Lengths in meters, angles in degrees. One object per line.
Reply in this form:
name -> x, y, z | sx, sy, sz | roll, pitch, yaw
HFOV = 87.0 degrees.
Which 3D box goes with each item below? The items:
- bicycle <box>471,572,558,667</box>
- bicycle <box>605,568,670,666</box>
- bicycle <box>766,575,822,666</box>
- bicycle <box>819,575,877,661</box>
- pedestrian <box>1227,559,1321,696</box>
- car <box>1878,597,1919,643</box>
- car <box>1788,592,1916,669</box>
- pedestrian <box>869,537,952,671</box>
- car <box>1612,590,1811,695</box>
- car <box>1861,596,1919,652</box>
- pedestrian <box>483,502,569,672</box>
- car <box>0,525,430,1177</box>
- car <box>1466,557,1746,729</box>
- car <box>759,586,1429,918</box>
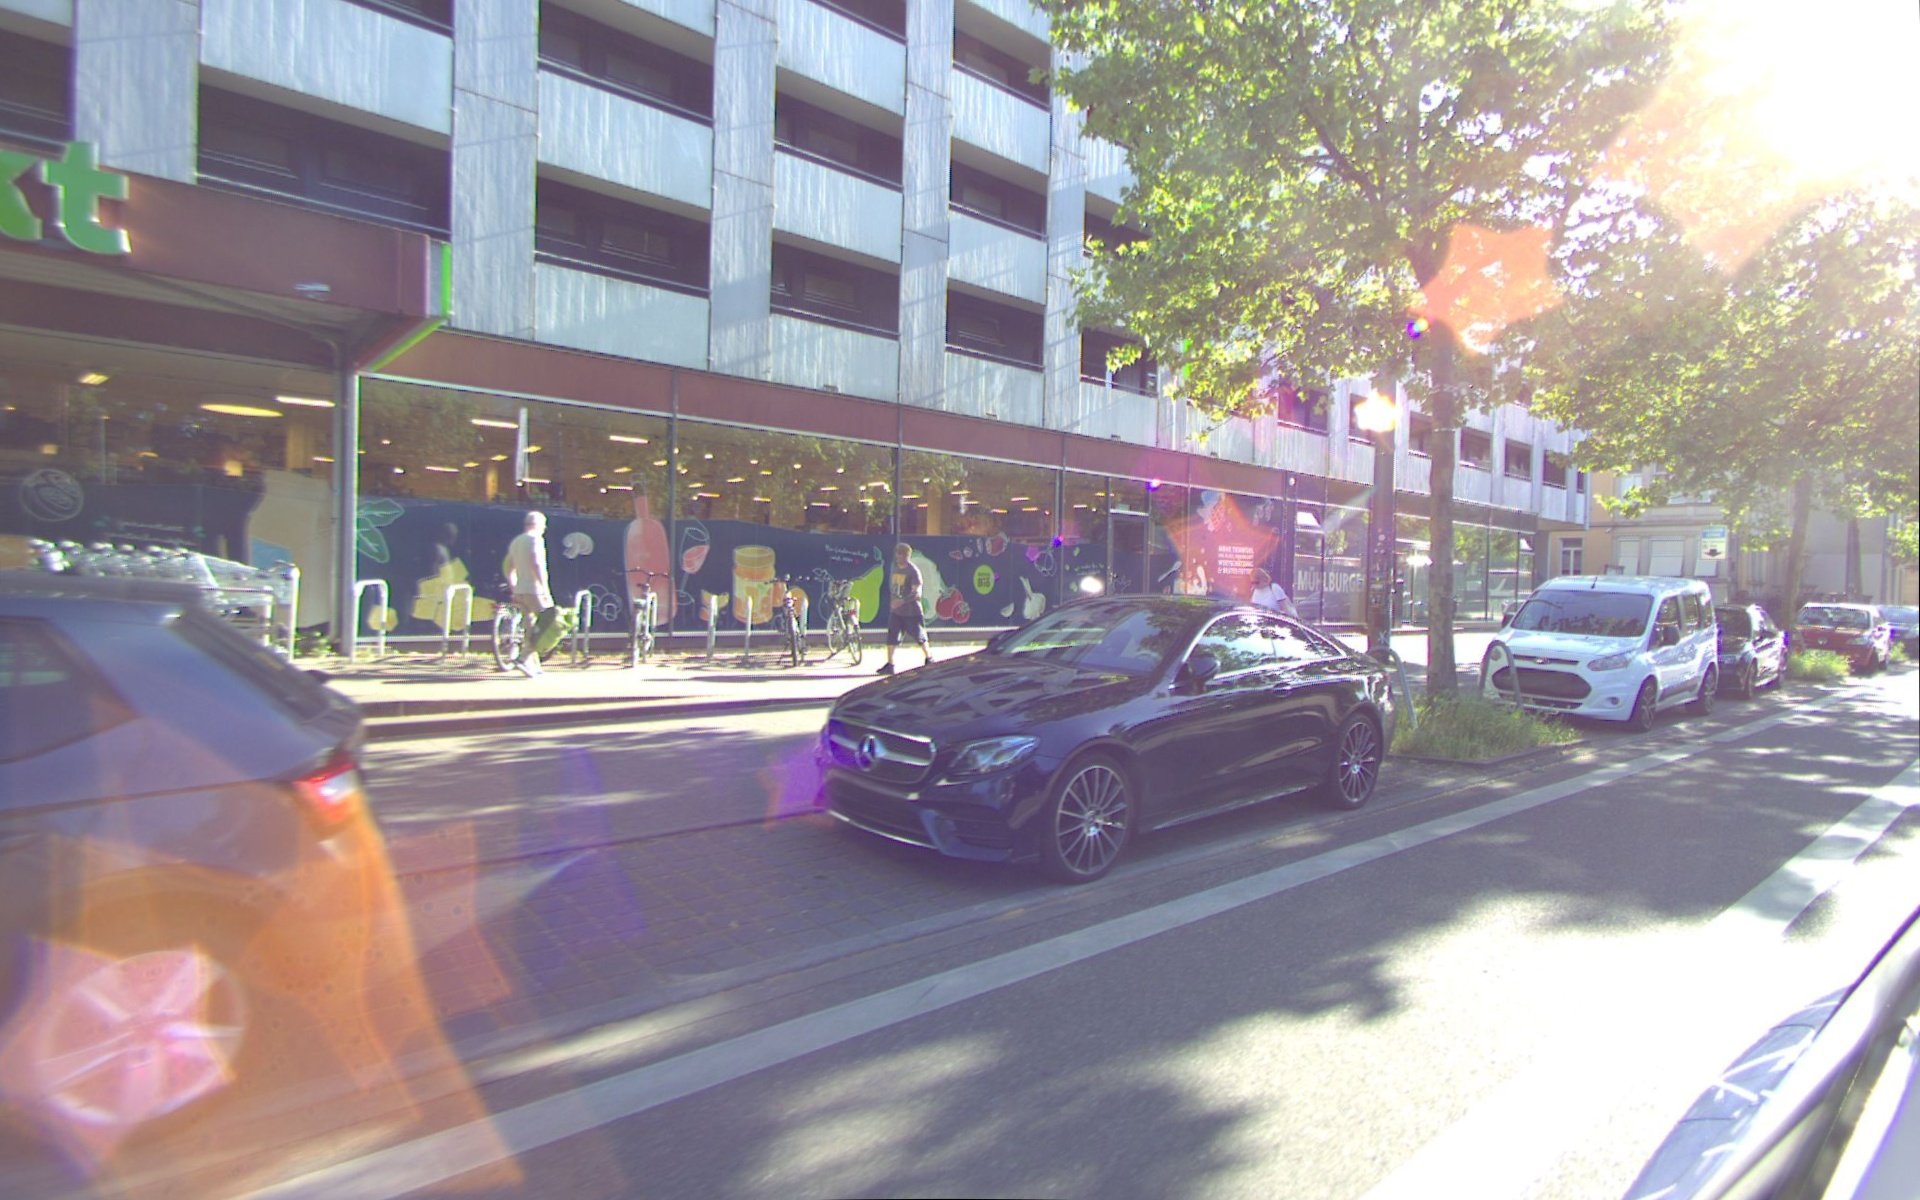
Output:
bicycle -> -5.173, 0.198, 11.832 | 0.573, 0.927, 1.656 | 5, 2, -14
bicycle -> -4.057, 0.176, 12.815 | 0.573, 1.068, 1.709 | 5, 2, -14
bicycle -> -2.285, 0.249, 13.830 | 0.573, 1.068, 1.709 | 3, 3, -14
bicycle -> -1.647, 0.233, 14.694 | 0.573, 1.068, 1.710 | 3, 3, -13
pedestrian -> 3.972, 0.325, 12.804 | 0.852, 1.632, 0.700 | 1, 3, -39
car -> 31.460, 0.644, 32.956 | 4.201, 1.399, 1.780 | 0, 2, -41
car -> 20.284, 0.620, 22.967 | 3.627, 1.455, 1.676 | -1, 5, -42
pedestrian -> -0.657, 0.042, 13.483 | 0.867, 1.698, 0.559 | 0, 4, -41
car -> 12.498, 0.614, 16.736 | 4.220, 1.420, 1.732 | 0, 3, -41
car -> 27.376, 0.656, 29.103 | 3.861, 1.459, 1.629 | 0, 3, -41
pedestrian -> -4.634, -0.143, 10.797 | 0.602, 1.736, 0.613 | 3, 3, -40
car -> -3.589, 0.582, 2.359 | 3.929, 1.569, 1.568 | 0, 2, -40
car -> 8.376, 0.449, 12.970 | 4.315, 1.814, 1.768 | 1, 2, -40
car -> 1.165, 0.657, 6.645 | 4.618, 1.435, 1.764 | 0, 1, -41
